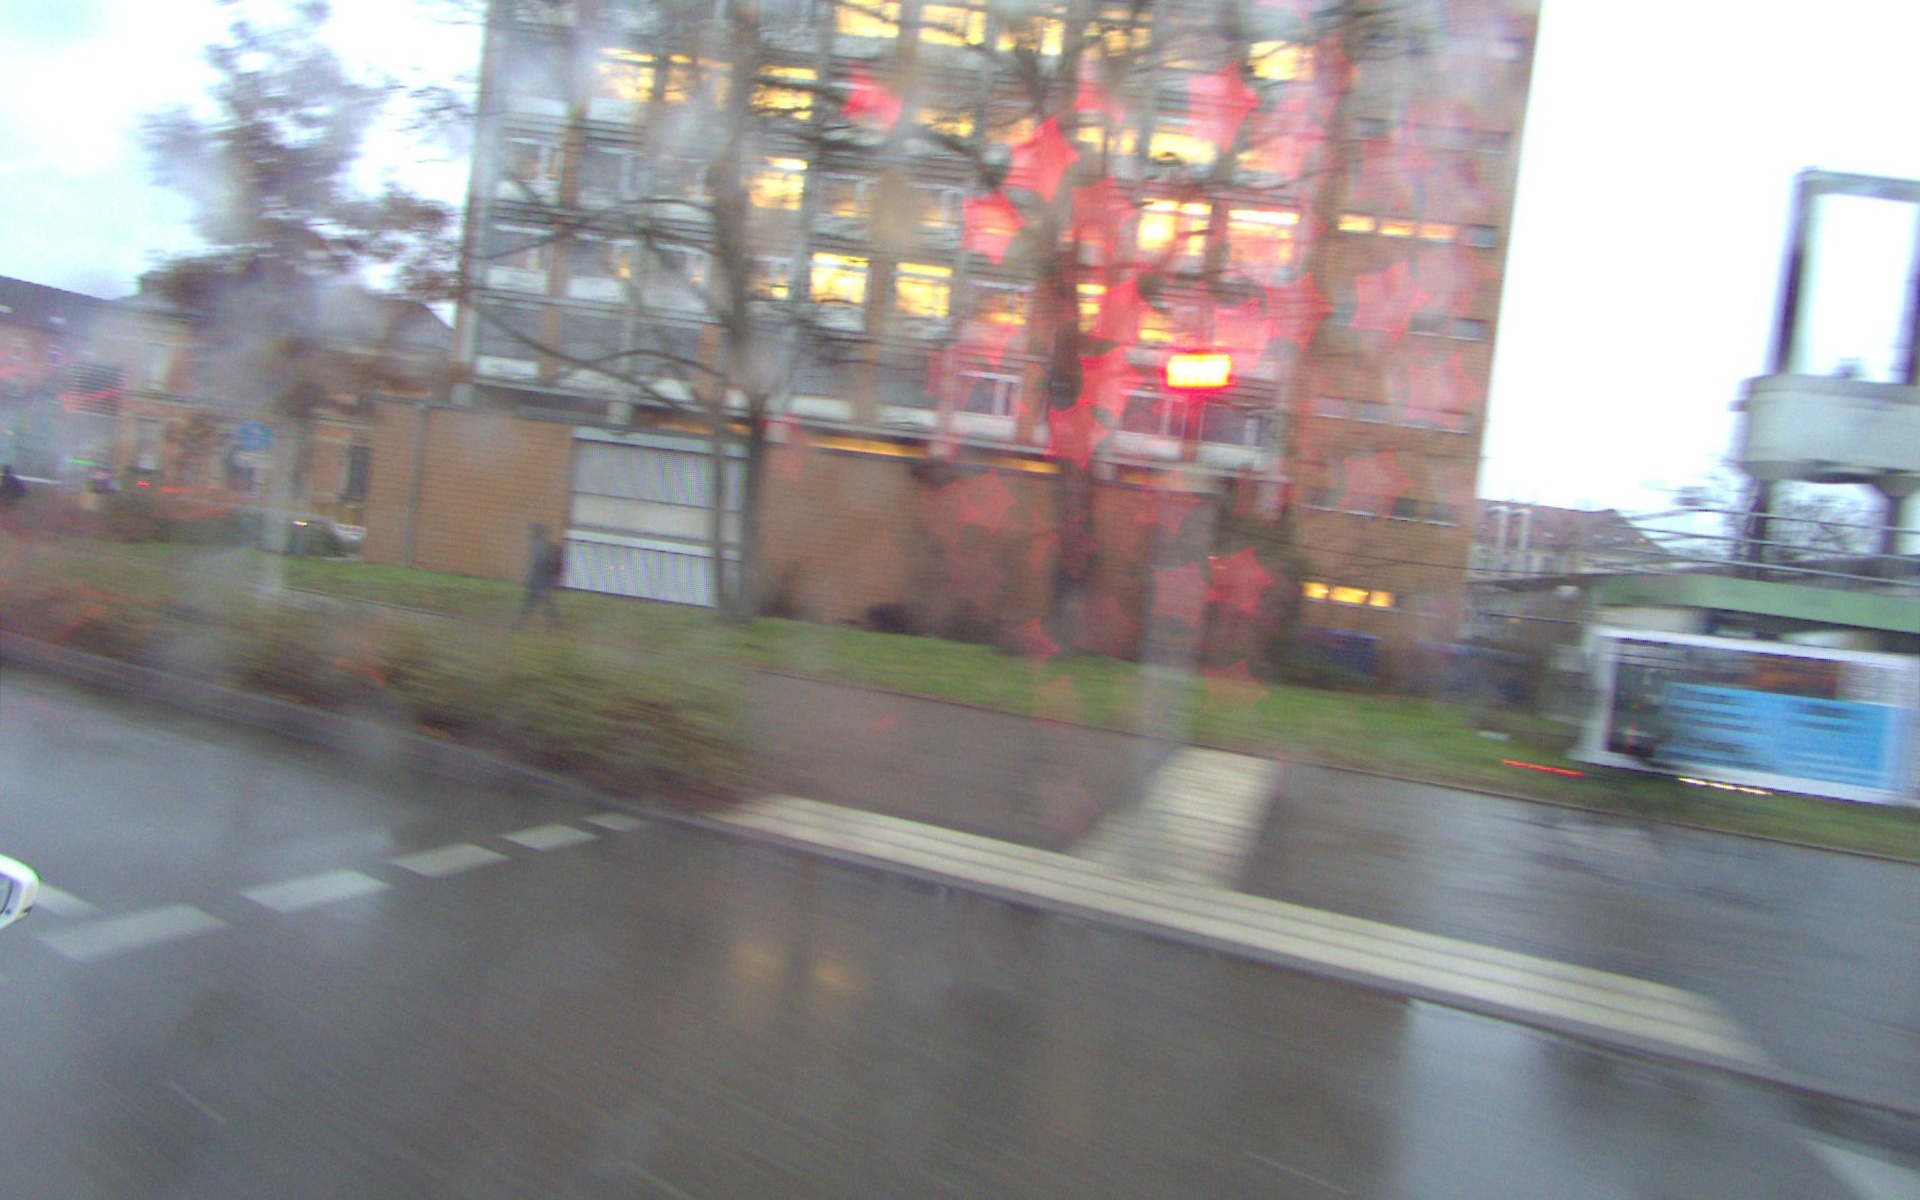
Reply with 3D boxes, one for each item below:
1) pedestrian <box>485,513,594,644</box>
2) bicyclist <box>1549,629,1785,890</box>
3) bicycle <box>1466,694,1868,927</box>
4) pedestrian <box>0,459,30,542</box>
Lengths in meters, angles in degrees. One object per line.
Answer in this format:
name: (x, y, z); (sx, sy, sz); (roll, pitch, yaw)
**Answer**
pedestrian: (-5.949, -0.305, 14.234); (1.051, 1.710, 0.808); (7, 3, 25)
bicyclist: (5.146, 1.111, 7.428); (1.066, 1.641, 0.805); (8, 4, 22)
bicycle: (5.069, 1.471, 7.445); (2.173, 1.157, 0.805); (8, 4, 22)
pedestrian: (-20.532, -2.147, 21.535); (0.713, 1.709, 0.753); (5, 2, -35)
